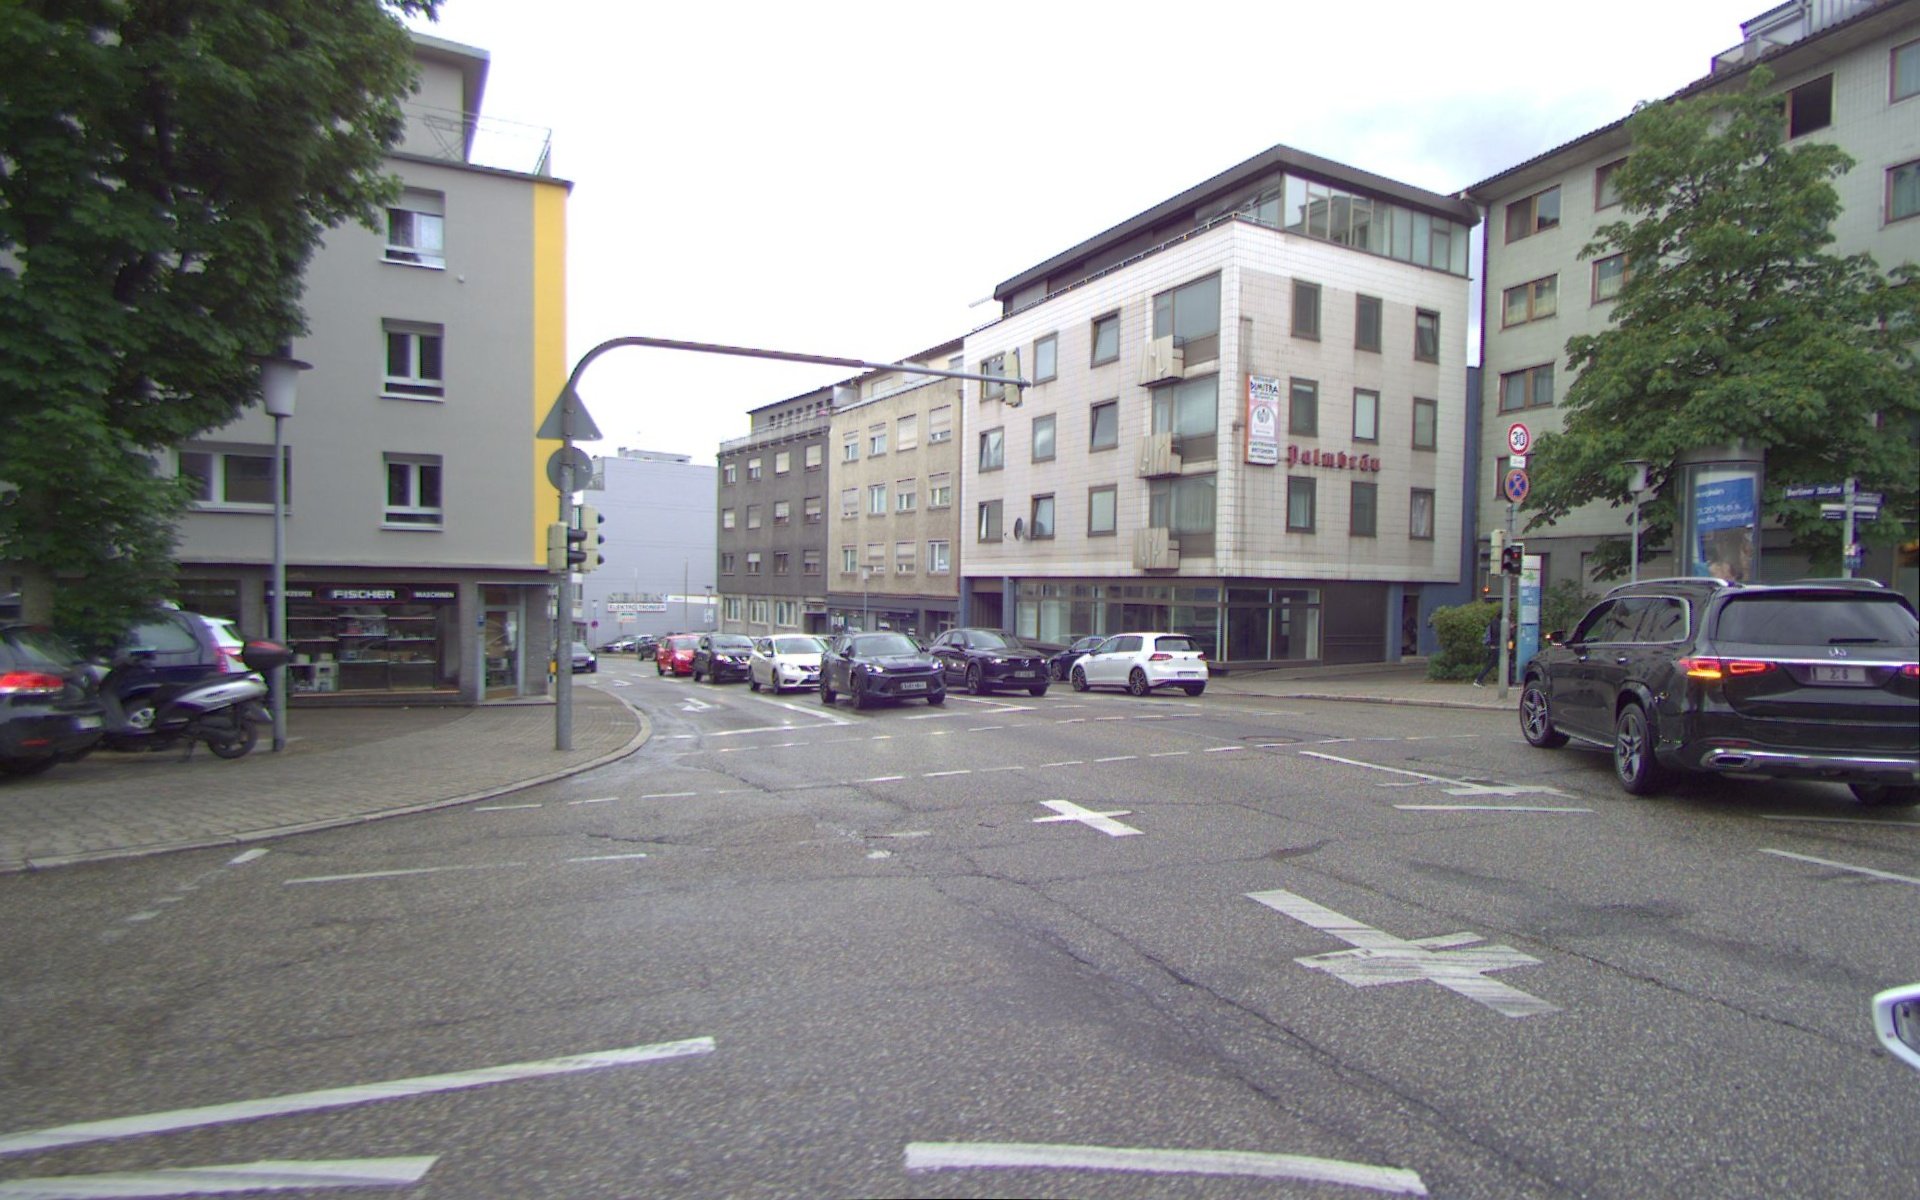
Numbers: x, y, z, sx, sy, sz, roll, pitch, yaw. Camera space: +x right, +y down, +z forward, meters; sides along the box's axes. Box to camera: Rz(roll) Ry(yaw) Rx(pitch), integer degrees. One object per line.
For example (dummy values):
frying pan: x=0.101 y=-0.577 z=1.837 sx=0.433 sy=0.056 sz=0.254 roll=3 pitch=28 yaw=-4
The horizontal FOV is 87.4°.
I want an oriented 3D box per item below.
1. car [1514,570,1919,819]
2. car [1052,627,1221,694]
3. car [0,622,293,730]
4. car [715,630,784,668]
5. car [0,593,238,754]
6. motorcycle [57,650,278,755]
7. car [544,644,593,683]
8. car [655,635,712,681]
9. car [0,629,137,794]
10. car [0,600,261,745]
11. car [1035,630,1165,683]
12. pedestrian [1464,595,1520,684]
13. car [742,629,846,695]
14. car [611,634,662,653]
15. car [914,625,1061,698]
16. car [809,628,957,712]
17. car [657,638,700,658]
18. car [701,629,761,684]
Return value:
car: x=6.966 y=0.711 z=9.515 sx=1.986 sy=1.762 sz=4.749 roll=0 pitch=-1 yaw=16
car: x=4.165 y=1.453 z=24.474 sx=1.813 sy=1.481 sz=4.349 roll=1 pitch=-3 yaw=-27
car: x=-12.916 y=1.178 z=15.793 sx=3.961 sy=1.515 sz=1.843 roll=3 pitch=-5 yaw=-36
car: x=-8.975 y=2.107 z=42.616 sx=1.683 sy=1.499 sz=4.259 roll=3 pitch=-4 yaw=-29
car: x=-11.095 y=0.844 z=11.538 sx=4.319 sy=1.750 sz=1.751 roll=3 pitch=-5 yaw=-44
motorcycle: x=-8.403 y=1.065 z=10.741 sx=1.774 sy=1.046 sz=0.450 roll=2 pitch=-1 yaw=-31
car: x=-18.350 y=2.950 z=47.006 sx=1.719 sy=1.617 sz=3.749 roll=1 pitch=-1 yaw=-28
car: x=-10.935 y=2.232 z=39.596 sx=1.587 sy=1.617 sz=3.755 roll=1 pitch=0 yaw=-24
car: x=-9.811 y=0.906 z=8.558 sx=3.945 sy=1.377 sz=1.728 roll=2 pitch=-3 yaw=-24
car: x=-12.058 y=0.970 z=13.804 sx=3.964 sy=1.817 sz=1.842 roll=1 pitch=-4 yaw=-38
car: x=4.236 y=1.727 z=31.051 sx=1.747 sy=1.410 sz=4.349 roll=-2 pitch=-2 yaw=-27
pedestrian: x=11.371 y=0.819 z=21.489 sx=0.739 sy=1.842 sz=0.918 roll=-2 pitch=1 yaw=8
car: x=-4.571 y=1.605 z=27.212 sx=1.787 sy=1.563 sz=4.354 roll=0 pitch=-1 yaw=-23
car: x=-28.222 y=3.825 z=87.776 sx=1.769 sy=1.617 sz=3.990 roll=-3 pitch=-4 yaw=33
car: x=0.532 y=1.437 z=23.671 sx=1.799 sy=1.557 sz=4.355 roll=0 pitch=-3 yaw=-23
car: x=-1.730 y=1.369 z=21.032 sx=1.799 sy=1.497 sz=4.354 roll=0 pitch=-1 yaw=-23
car: x=-21.950 y=3.708 z=78.224 sx=1.785 sy=1.496 sz=4.440 roll=2 pitch=-3 yaw=-36
car: x=-7.736 y=1.856 z=33.719 sx=1.782 sy=1.653 sz=4.331 roll=-3 pitch=-1 yaw=-15
